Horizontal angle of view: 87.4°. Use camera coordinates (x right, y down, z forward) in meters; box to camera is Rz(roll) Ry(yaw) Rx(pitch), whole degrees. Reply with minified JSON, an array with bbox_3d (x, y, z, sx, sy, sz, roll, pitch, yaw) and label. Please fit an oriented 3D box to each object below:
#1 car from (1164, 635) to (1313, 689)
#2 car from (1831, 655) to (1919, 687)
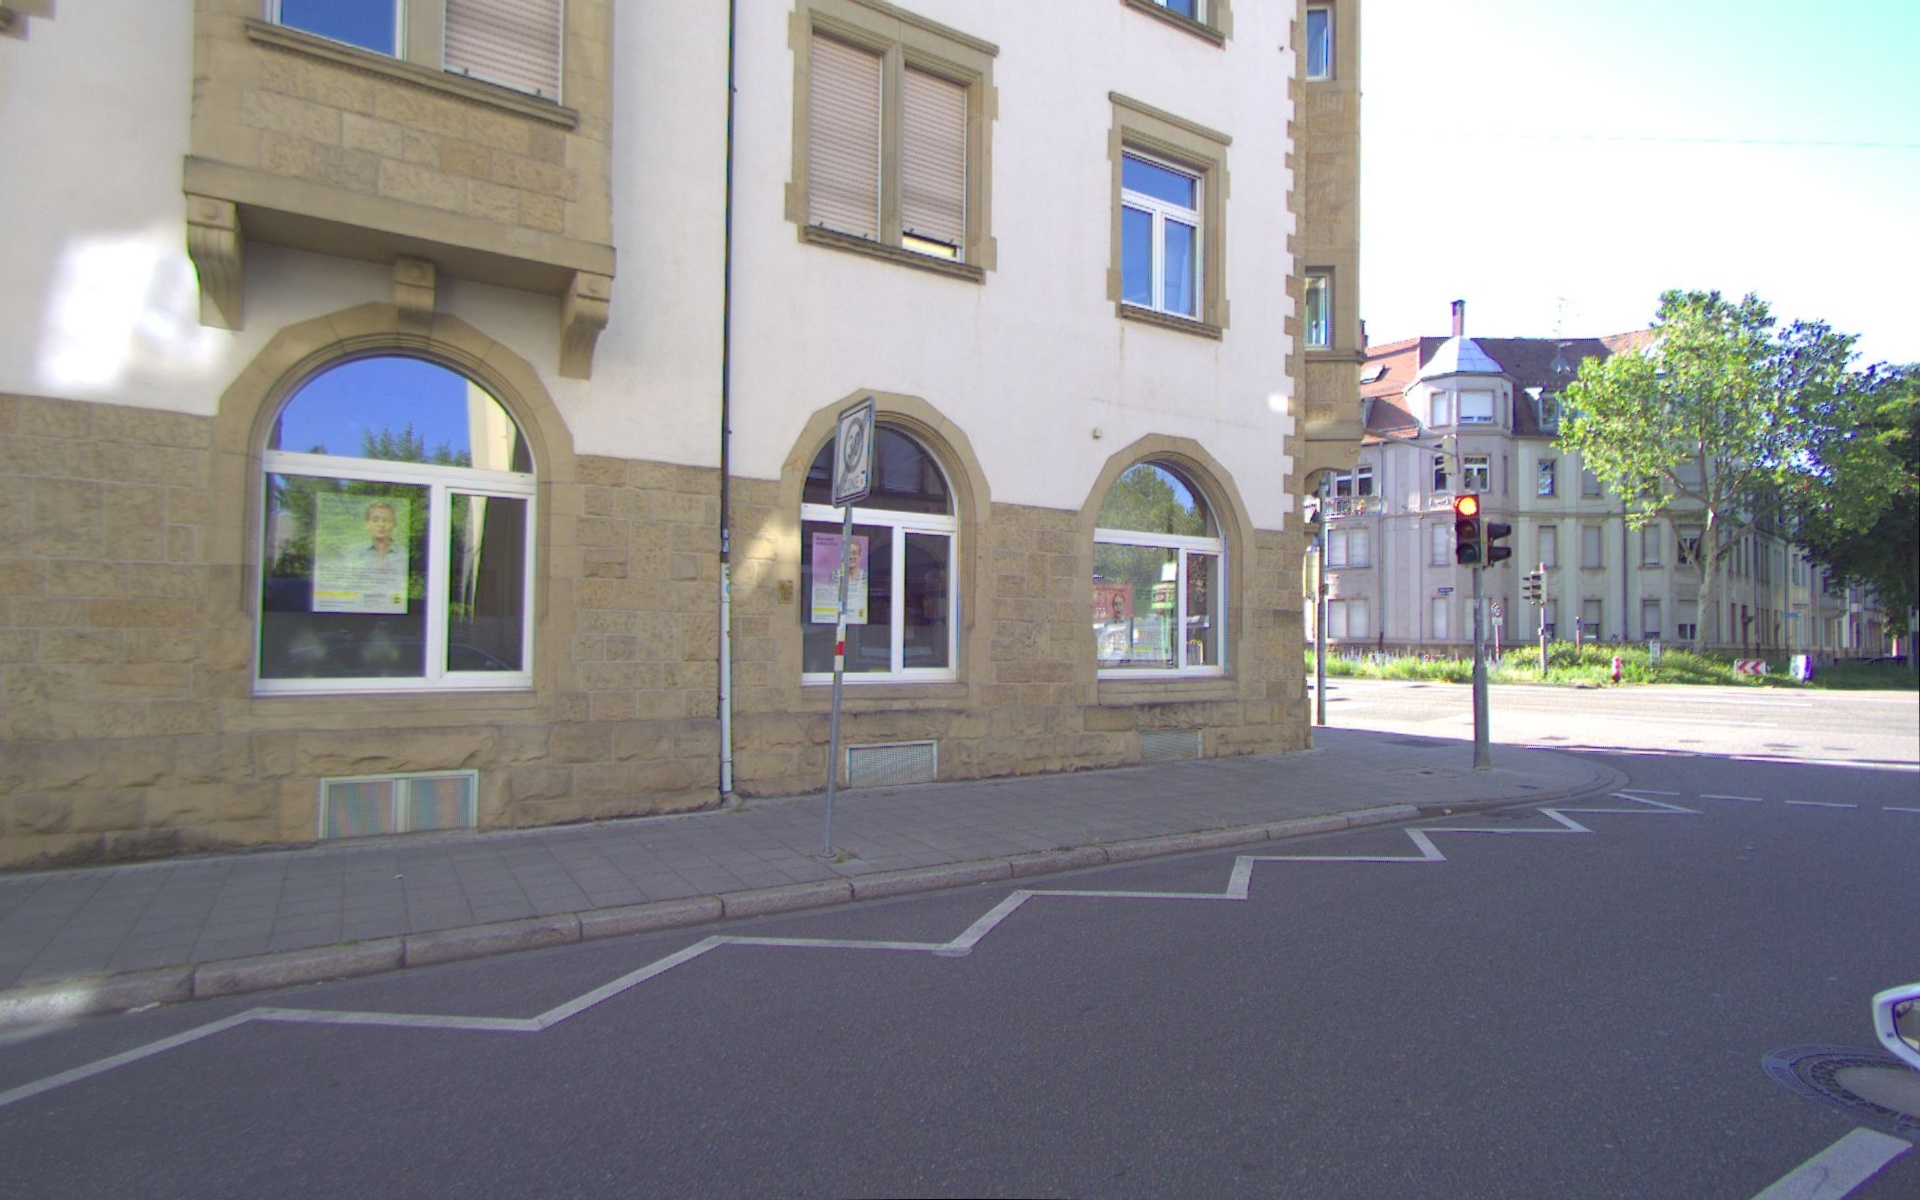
[{"bbox_3d":[8.360,1.830,30.386,3.944,1.336,1.812,2,-1,43],"label":"car"},{"bbox_3d":[45.867,3.525,49.874,3.943,1.505,1.673,-2,-3,42],"label":"car"}]
